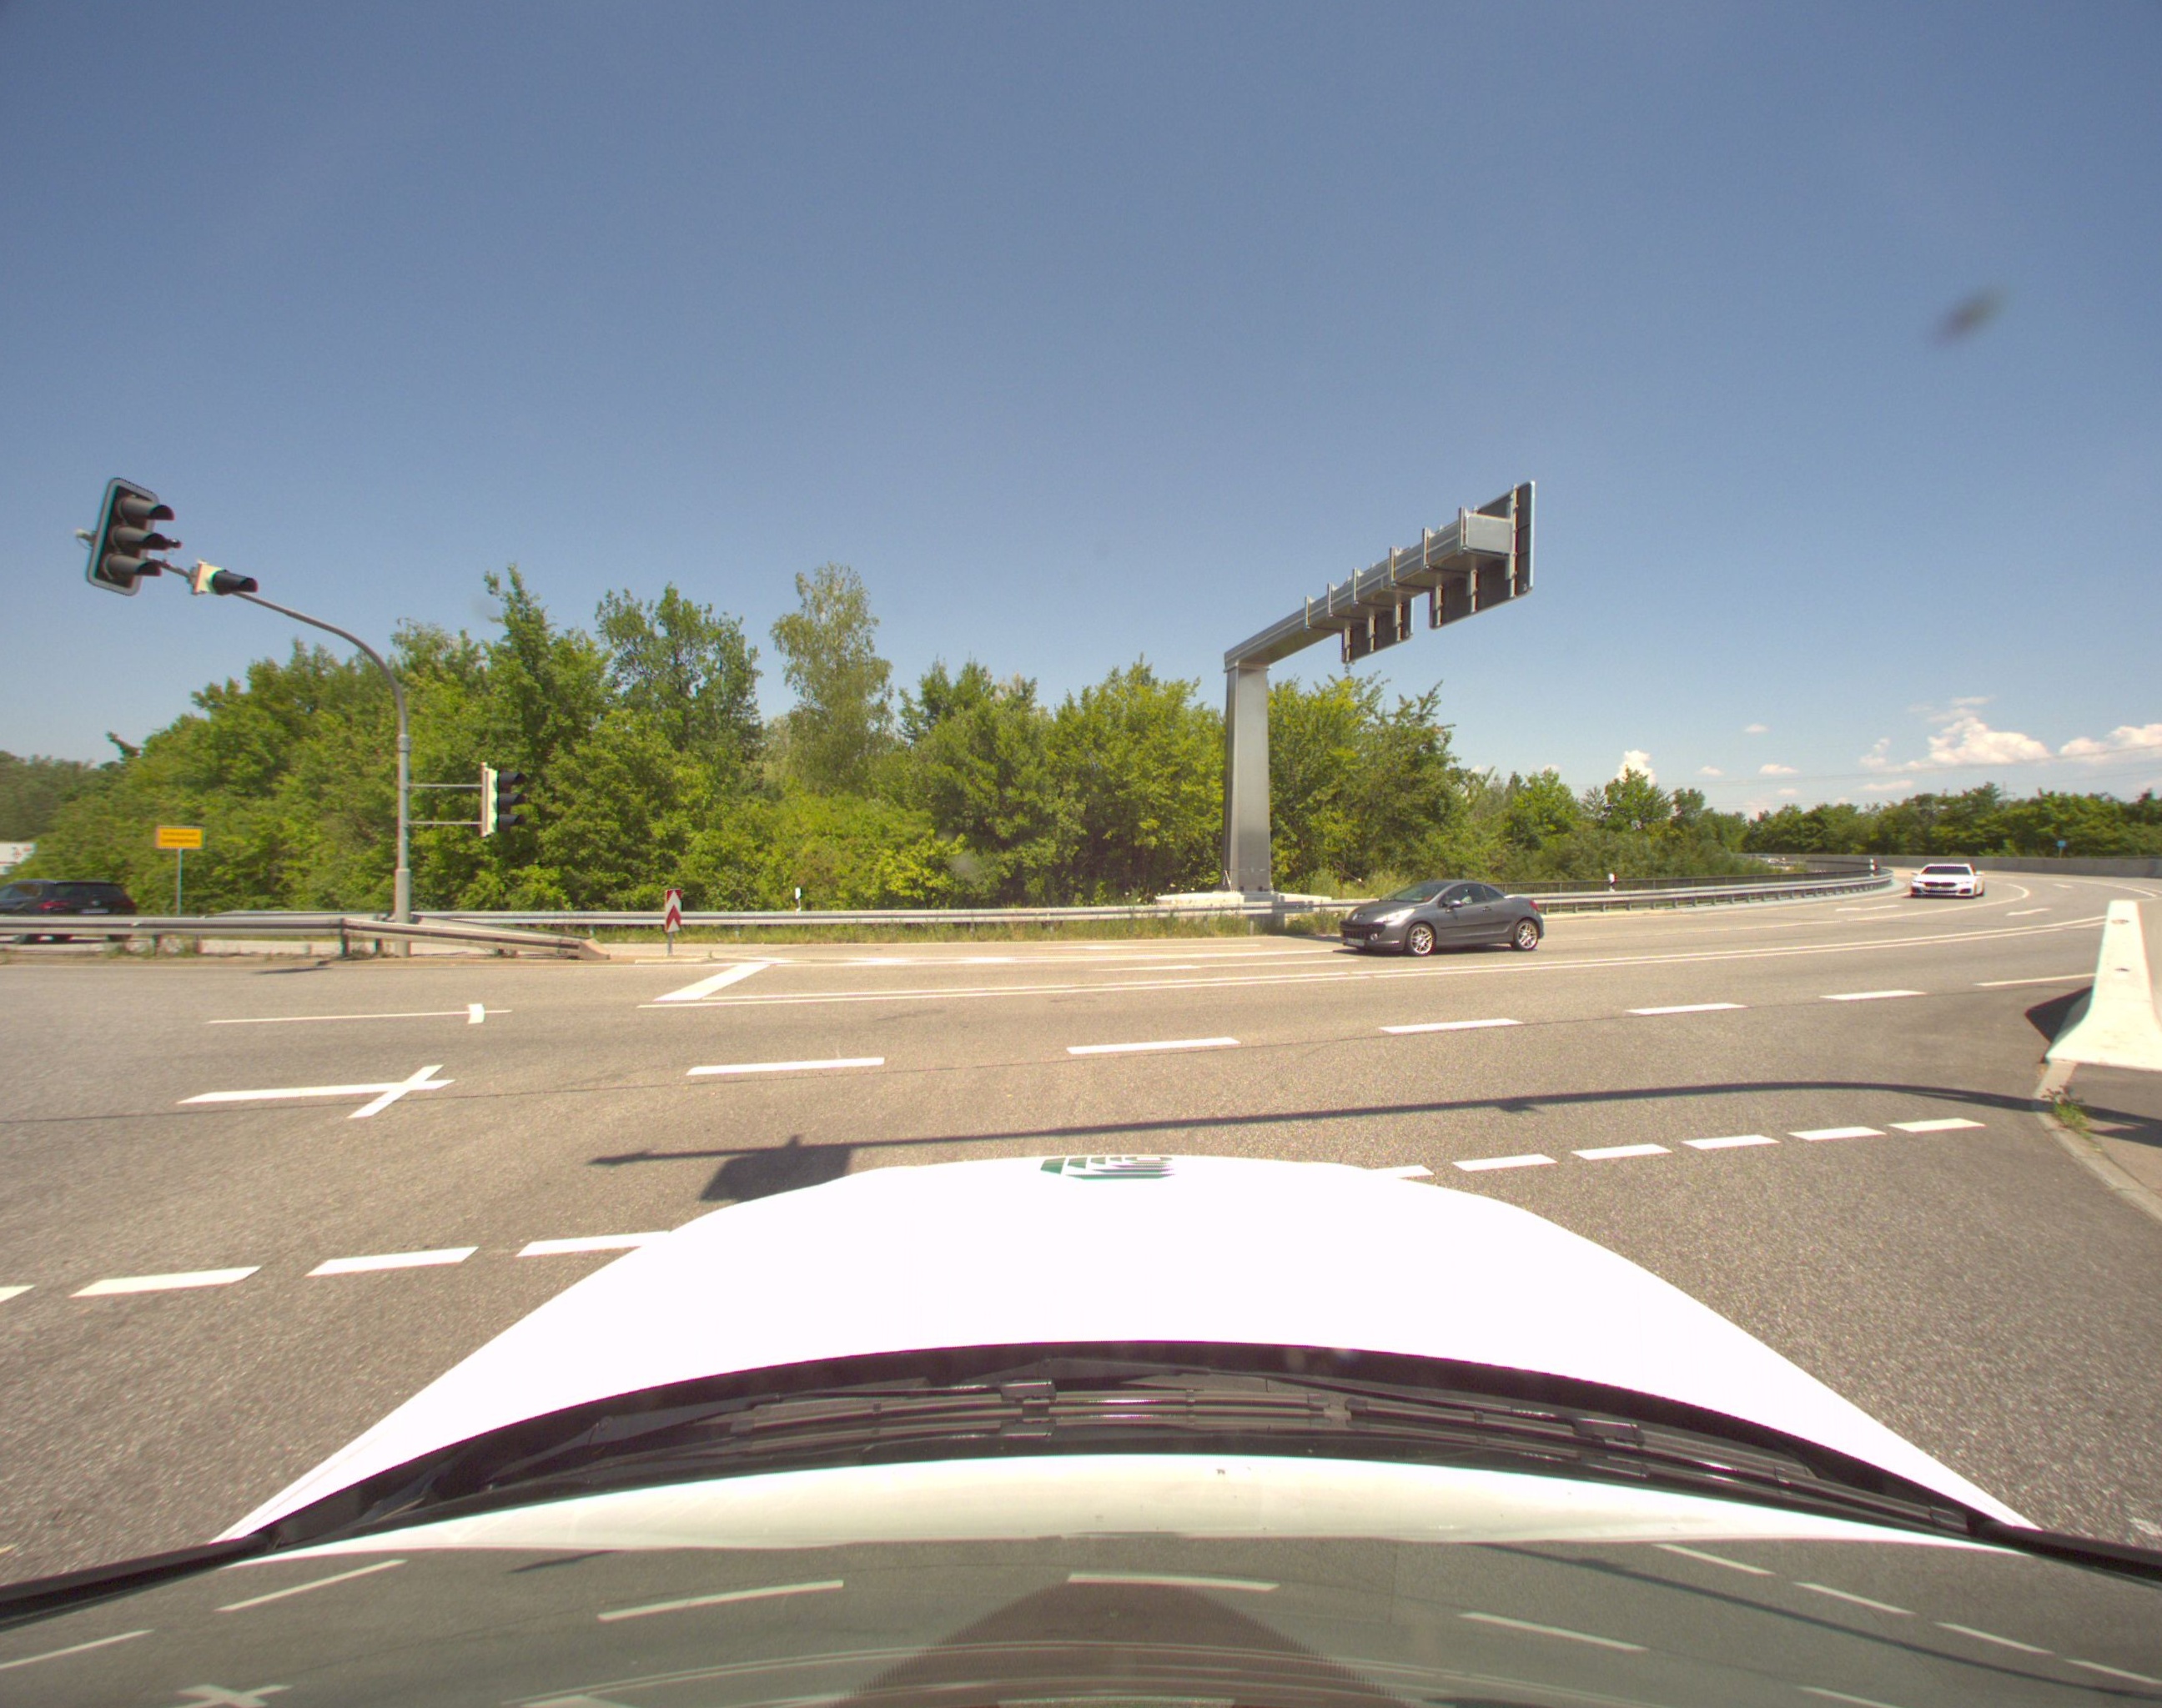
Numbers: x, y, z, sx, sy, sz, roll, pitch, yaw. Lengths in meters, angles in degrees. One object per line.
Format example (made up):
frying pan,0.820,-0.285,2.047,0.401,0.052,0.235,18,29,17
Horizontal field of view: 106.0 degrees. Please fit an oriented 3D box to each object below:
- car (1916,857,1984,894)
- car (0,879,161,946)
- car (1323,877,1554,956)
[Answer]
car,37.694,0.954,35.286,4.863,1.485,1.821,1,-3,-42
car,-26.966,1.553,21.452,4.228,1.632,1.912,-2,-4,16
car,6.845,1.155,15.663,3.966,1.352,1.640,0,-3,-18
